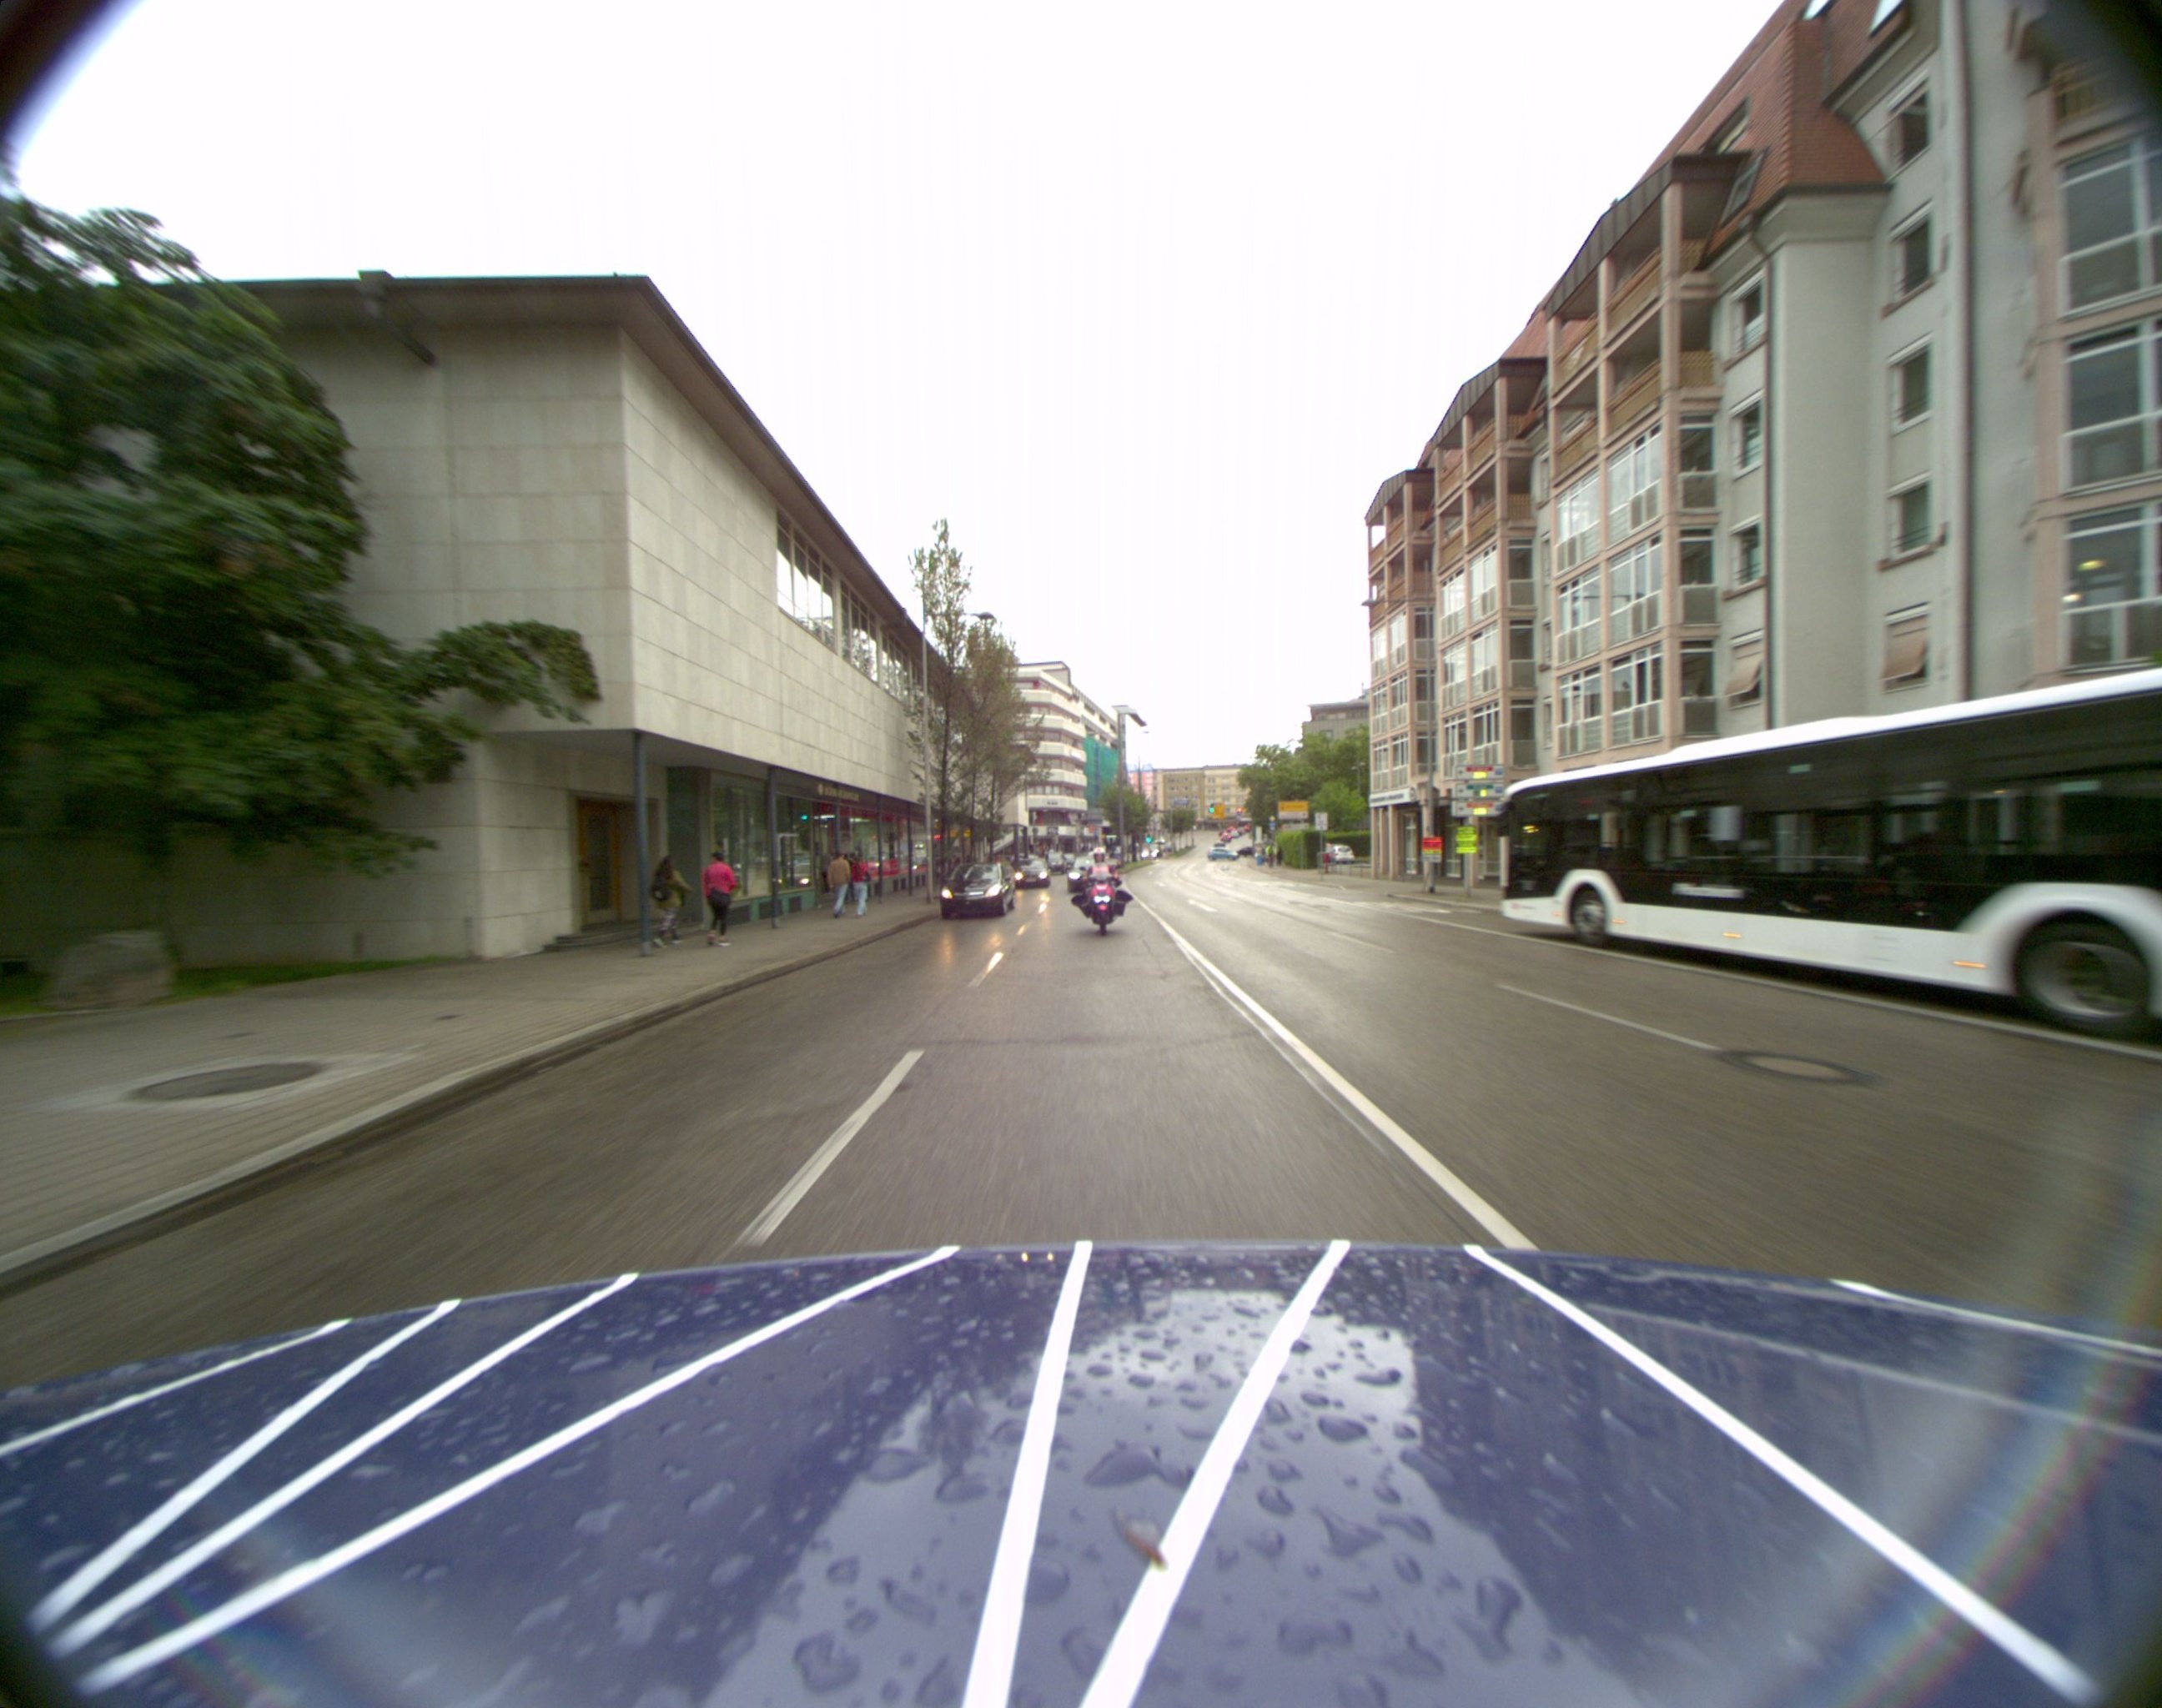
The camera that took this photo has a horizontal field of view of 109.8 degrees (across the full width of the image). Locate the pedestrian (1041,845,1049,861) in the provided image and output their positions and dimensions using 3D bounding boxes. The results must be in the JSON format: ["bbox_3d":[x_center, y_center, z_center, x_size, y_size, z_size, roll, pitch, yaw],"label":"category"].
[{"bbox_3d":[-4.043,-0.110,85.063,0.623,1.764,0.678,-1,4,19],"label":"pedestrian"}]

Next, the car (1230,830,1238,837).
[{"bbox_3d":[33.460,-4.585,165.898,1.674,1.507,3.645,0,2,13],"label":"car"}]

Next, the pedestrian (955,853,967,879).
[{"bbox_3d":[-7.240,0.730,45.776,0.510,1.557,0.429,-1,1,-43],"label":"pedestrian"}]

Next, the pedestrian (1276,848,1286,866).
[{"bbox_3d":[16.944,0.234,64.380,0.716,1.550,0.565,-1,1,4],"label":"pedestrian"}]

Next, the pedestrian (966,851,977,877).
[{"bbox_3d":[-6.673,0.582,46.261,0.429,1.557,0.510,0,1,38],"label":"pedestrian"}]

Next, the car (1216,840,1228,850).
[{"bbox_3d":[22.690,-1.427,122.135,1.760,1.412,4.099,1,2,12],"label":"car"}]

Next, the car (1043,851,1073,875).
[{"bbox_3d":[-1.713,0.653,57.715,1.735,1.669,4.249,-3,1,4],"label":"car"}]

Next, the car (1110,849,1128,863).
[{"bbox_3d":[5.716,0.311,113.100,1.830,1.727,4.001,0,4,14],"label":"car"}]

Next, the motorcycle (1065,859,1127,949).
[{"bbox_3d":[0.343,0.859,14.336,0.831,1.479,2.867,0,1,8],"label":"motorcycle"}]

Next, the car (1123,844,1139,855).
[{"bbox_3d":[8.489,-0.756,128.741,1.830,1.727,4.001,0,4,14],"label":"car"}]

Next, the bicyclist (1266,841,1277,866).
[{"bbox_3d":[14.869,-0.048,59.326,0.793,1.879,0.954,-1,1,9],"label":"bicyclist"}]

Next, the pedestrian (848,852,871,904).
[{"bbox_3d":[-7.686,0.826,26.343,0.537,1.809,0.535,-1,1,9],"label":"pedestrian"}]

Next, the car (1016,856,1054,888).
[{"bbox_3d":[-2.232,0.844,37.945,1.596,1.432,3.627,-2,1,1],"label":"car"}]

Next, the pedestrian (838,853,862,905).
[{"bbox_3d":[-7.721,0.828,25.407,0.537,1.709,0.535,-1,1,9],"label":"pedestrian"}]

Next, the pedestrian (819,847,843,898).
[{"bbox_3d":[-8.472,0.616,25.734,0.537,1.709,0.535,-1,1,11],"label":"pedestrian"}]

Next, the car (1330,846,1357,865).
[{"bbox_3d":[23.056,0.128,66.816,1.598,1.530,3.602,-1,0,8],"label":"car"}]

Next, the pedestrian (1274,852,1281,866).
[{"bbox_3d":[16.831,0.441,65.037,0.469,1.144,0.501,-1,1,5],"label":"pedestrian"}]

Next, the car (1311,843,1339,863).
[{"bbox_3d":[19.925,-0.080,62.125,1.598,1.530,3.602,-1,0,8],"label":"car"}]

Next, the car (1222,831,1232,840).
[{"bbox_3d":[28.756,-3.701,149.511,1.830,1.726,4.313,-1,2,12],"label":"car"}]

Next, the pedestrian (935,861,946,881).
[{"bbox_3d":[-8.214,0.984,44.328,0.431,1.129,0.508,-1,1,-34],"label":"pedestrian"}]

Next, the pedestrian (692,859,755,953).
[{"bbox_3d":[-6.297,0.896,13.415,0.719,1.611,0.769,0,1,1],"label":"pedestrian"}]

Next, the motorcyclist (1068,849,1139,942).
[{"bbox_3d":[0.459,0.802,14.980,1.295,1.756,0.846,-1,0,8],"label":"motorcyclist"}]

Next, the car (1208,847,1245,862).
[{"bbox_3d":[16.454,0.028,85.774,3.681,1.465,1.704,-3,-2,26],"label":"car"}]

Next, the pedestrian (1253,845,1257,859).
[{"bbox_3d":[22.605,-0.282,98.499,0.447,1.827,0.676,-1,4,9],"label":"pedestrian"}]

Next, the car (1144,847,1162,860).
[{"bbox_3d":[9.134,-0.098,96.296,1.768,1.401,4.002,-2,2,11],"label":"car"}]

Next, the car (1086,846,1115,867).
[{"bbox_3d":[1.677,0.180,63.038,1.630,1.731,3.604,0,1,14],"label":"car"}]

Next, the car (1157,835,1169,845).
[{"bbox_3d":[16.382,-2.796,151.947,1.830,1.727,4.001,0,4,14],"label":"car"}]

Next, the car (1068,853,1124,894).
[{"bbox_3d":[0.719,0.755,31.541,1.937,1.511,4.470,-2,0,6],"label":"car"}]

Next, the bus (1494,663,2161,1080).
[{"bbox_3d":[9.359,0.137,8.732,2.751,3.057,12.239,-1,-1,1],"label":"bus"}]

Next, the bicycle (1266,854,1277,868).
[{"bbox_3d":[14.888,0.539,59.499,0.651,1.104,2.059,-1,1,10],"label":"bicycle"}]

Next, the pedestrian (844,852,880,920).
[{"bbox_3d":[-5.743,0.816,19.987,0.655,1.757,0.923,0,1,1],"label":"pedestrian"}]

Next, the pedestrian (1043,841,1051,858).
[{"bbox_3d":[-3.824,-0.536,85.072,0.623,1.836,0.849,-1,1,19],"label":"pedestrian"}]

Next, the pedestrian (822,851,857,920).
[{"bbox_3d":[-6.369,0.811,20.059,0.700,1.791,0.606,0,1,0],"label":"pedestrian"}]

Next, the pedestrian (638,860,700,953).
[{"bbox_3d":[-7.212,0.909,13.318,0.727,1.580,0.606,0,1,0],"label":"pedestrian"}]

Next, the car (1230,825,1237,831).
[{"bbox_3d":[37.904,-6.382,188.725,1.716,1.471,3.959,1,3,12],"label":"car"}]

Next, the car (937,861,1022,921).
[{"bbox_3d":[-2.756,0.973,21.341,1.712,1.448,3.743,-2,0,2],"label":"car"}]

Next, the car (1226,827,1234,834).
[{"bbox_3d":[34.015,-5.425,173.579,1.625,1.547,3.662,-1,1,11],"label":"car"}]

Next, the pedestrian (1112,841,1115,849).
[{"bbox_3d":[5.896,-1.711,139.038,0.429,1.481,0.523,-3,5,-20],"label":"pedestrian"}]
